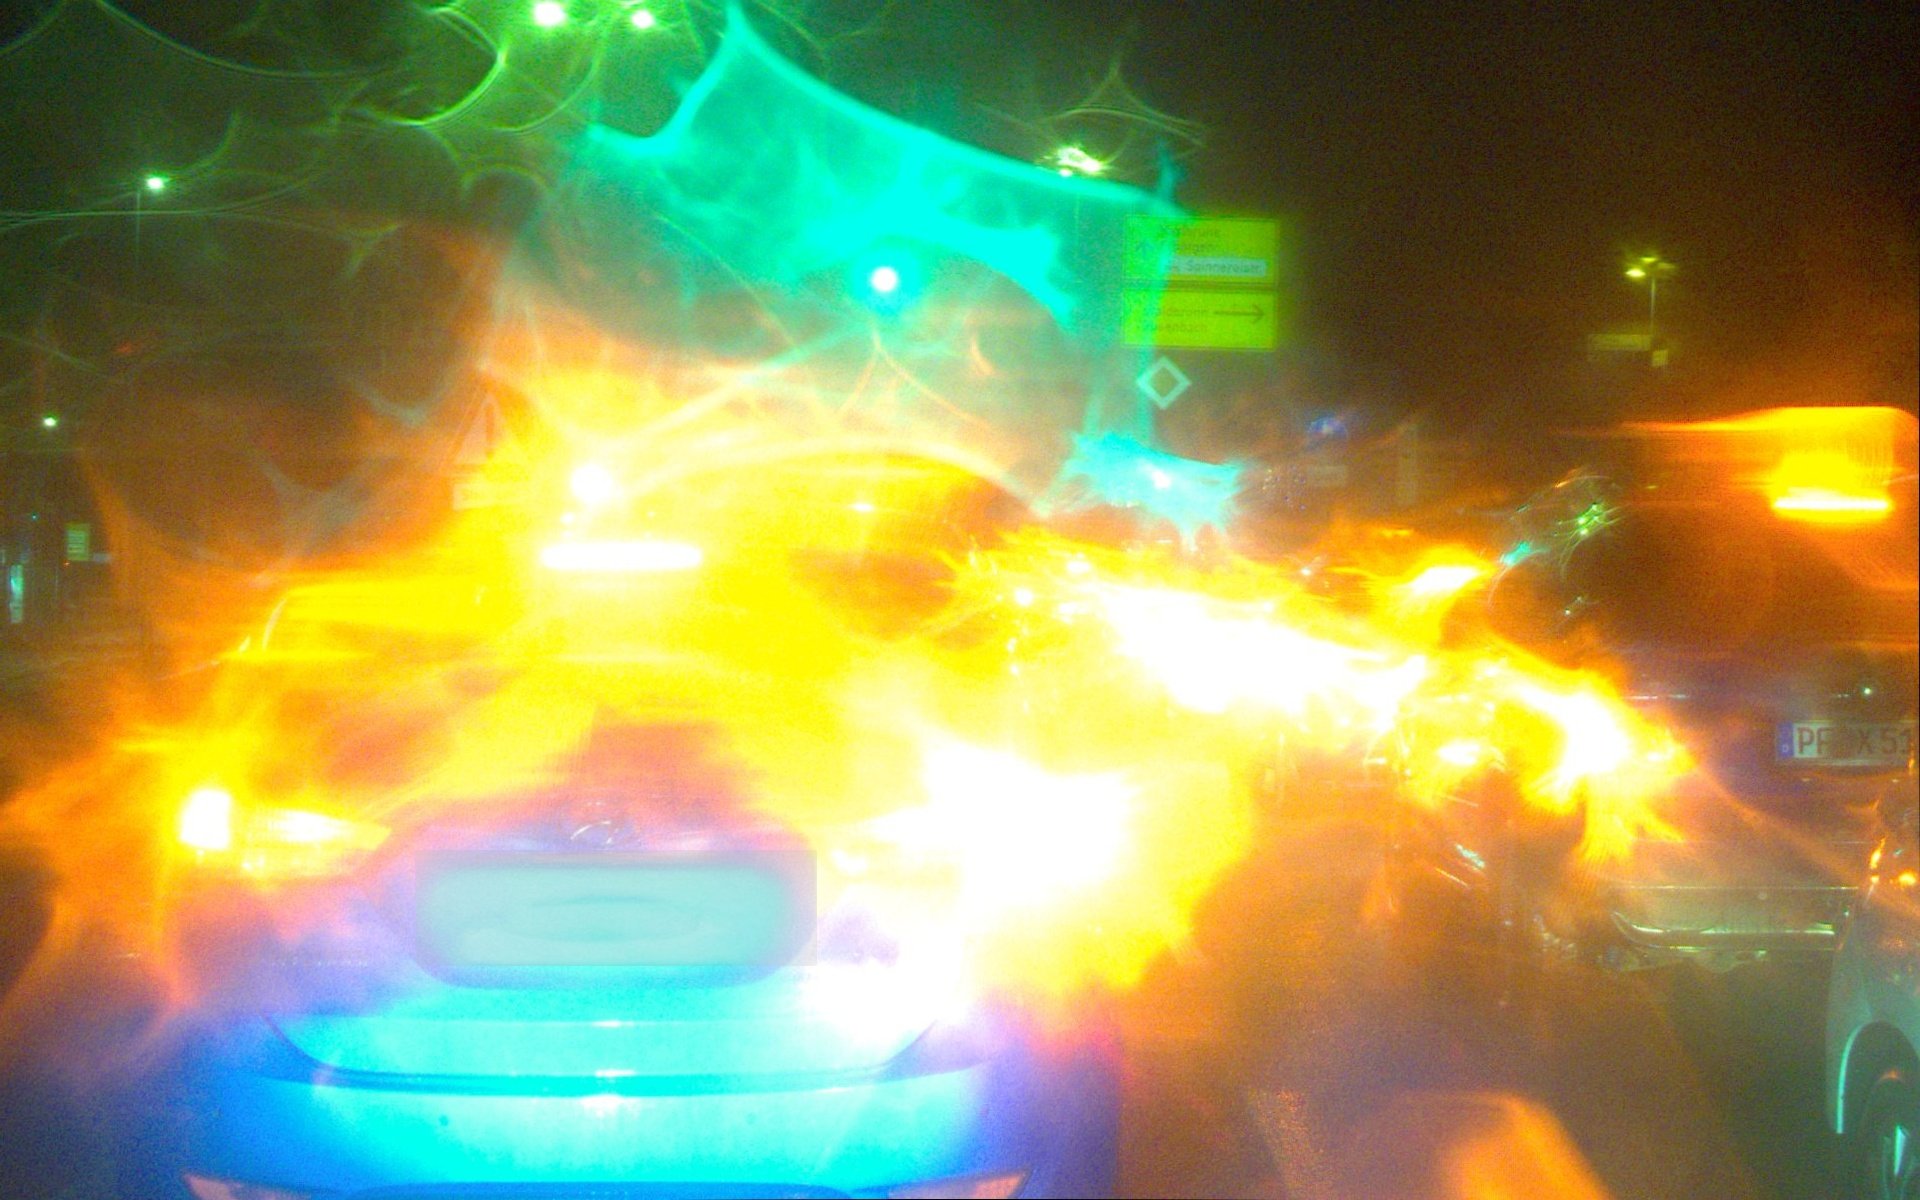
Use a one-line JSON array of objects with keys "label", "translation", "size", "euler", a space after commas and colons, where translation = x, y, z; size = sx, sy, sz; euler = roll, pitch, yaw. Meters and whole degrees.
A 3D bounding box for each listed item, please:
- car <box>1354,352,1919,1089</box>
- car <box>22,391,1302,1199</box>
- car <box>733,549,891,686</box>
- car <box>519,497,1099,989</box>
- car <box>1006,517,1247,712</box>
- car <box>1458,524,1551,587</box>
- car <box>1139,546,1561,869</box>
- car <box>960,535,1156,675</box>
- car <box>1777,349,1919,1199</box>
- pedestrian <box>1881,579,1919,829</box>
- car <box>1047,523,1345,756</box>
[{"label": "car", "translation": [2.580, 0.325, 11.597], "size": [1.968, 2.040, 4.000], "euler": [1, 1, -1]}, {"label": "car", "translation": [-0.556, 0.519, 7.696], "size": [2.014, 1.711, 4.452], "euler": [1, 1, -2]}, {"label": "car", "translation": [-2.128, 0.220, 48.264], "size": [1.993, 1.818, 4.001], "euler": [1, 1, -5]}, {"label": "car", "translation": [-0.549, 0.479, 13.952], "size": [1.993, 1.678, 4.000], "euler": [1, 1, -1]}, {"label": "car", "translation": [1.552, 0.114, 33.544], "size": [1.993, 1.767, 4.000], "euler": [1, 1, -2]}, {"label": "car", "translation": [14.870, -1.223, 94.115], "size": [1.865, 1.641, 3.963], "euler": [-2, 1, 0]}, {"label": "car", "translation": [2.209, 0.560, 20.525], "size": [1.993, 1.712, 4.000], "euler": [1, 1, -1]}, {"label": "car", "translation": [1.100, 0.032, 40.482], "size": [1.857, 1.539, 3.931], "euler": [1, 1, -5]}, {"label": "car", "translation": [2.468, 0.555, 4.176], "size": [1.851, 1.858, 4.341], "euler": [1, 1, -1]}, {"label": "pedestrian", "translation": [6.739, 0.707, 23.635], "size": [0.622, 1.696, 0.541], "euler": [1, 0, -3]}, {"label": "car", "translation": [1.769, 0.269, 26.993], "size": [1.993, 1.664, 4.000], "euler": [1, 1, -1]}]
